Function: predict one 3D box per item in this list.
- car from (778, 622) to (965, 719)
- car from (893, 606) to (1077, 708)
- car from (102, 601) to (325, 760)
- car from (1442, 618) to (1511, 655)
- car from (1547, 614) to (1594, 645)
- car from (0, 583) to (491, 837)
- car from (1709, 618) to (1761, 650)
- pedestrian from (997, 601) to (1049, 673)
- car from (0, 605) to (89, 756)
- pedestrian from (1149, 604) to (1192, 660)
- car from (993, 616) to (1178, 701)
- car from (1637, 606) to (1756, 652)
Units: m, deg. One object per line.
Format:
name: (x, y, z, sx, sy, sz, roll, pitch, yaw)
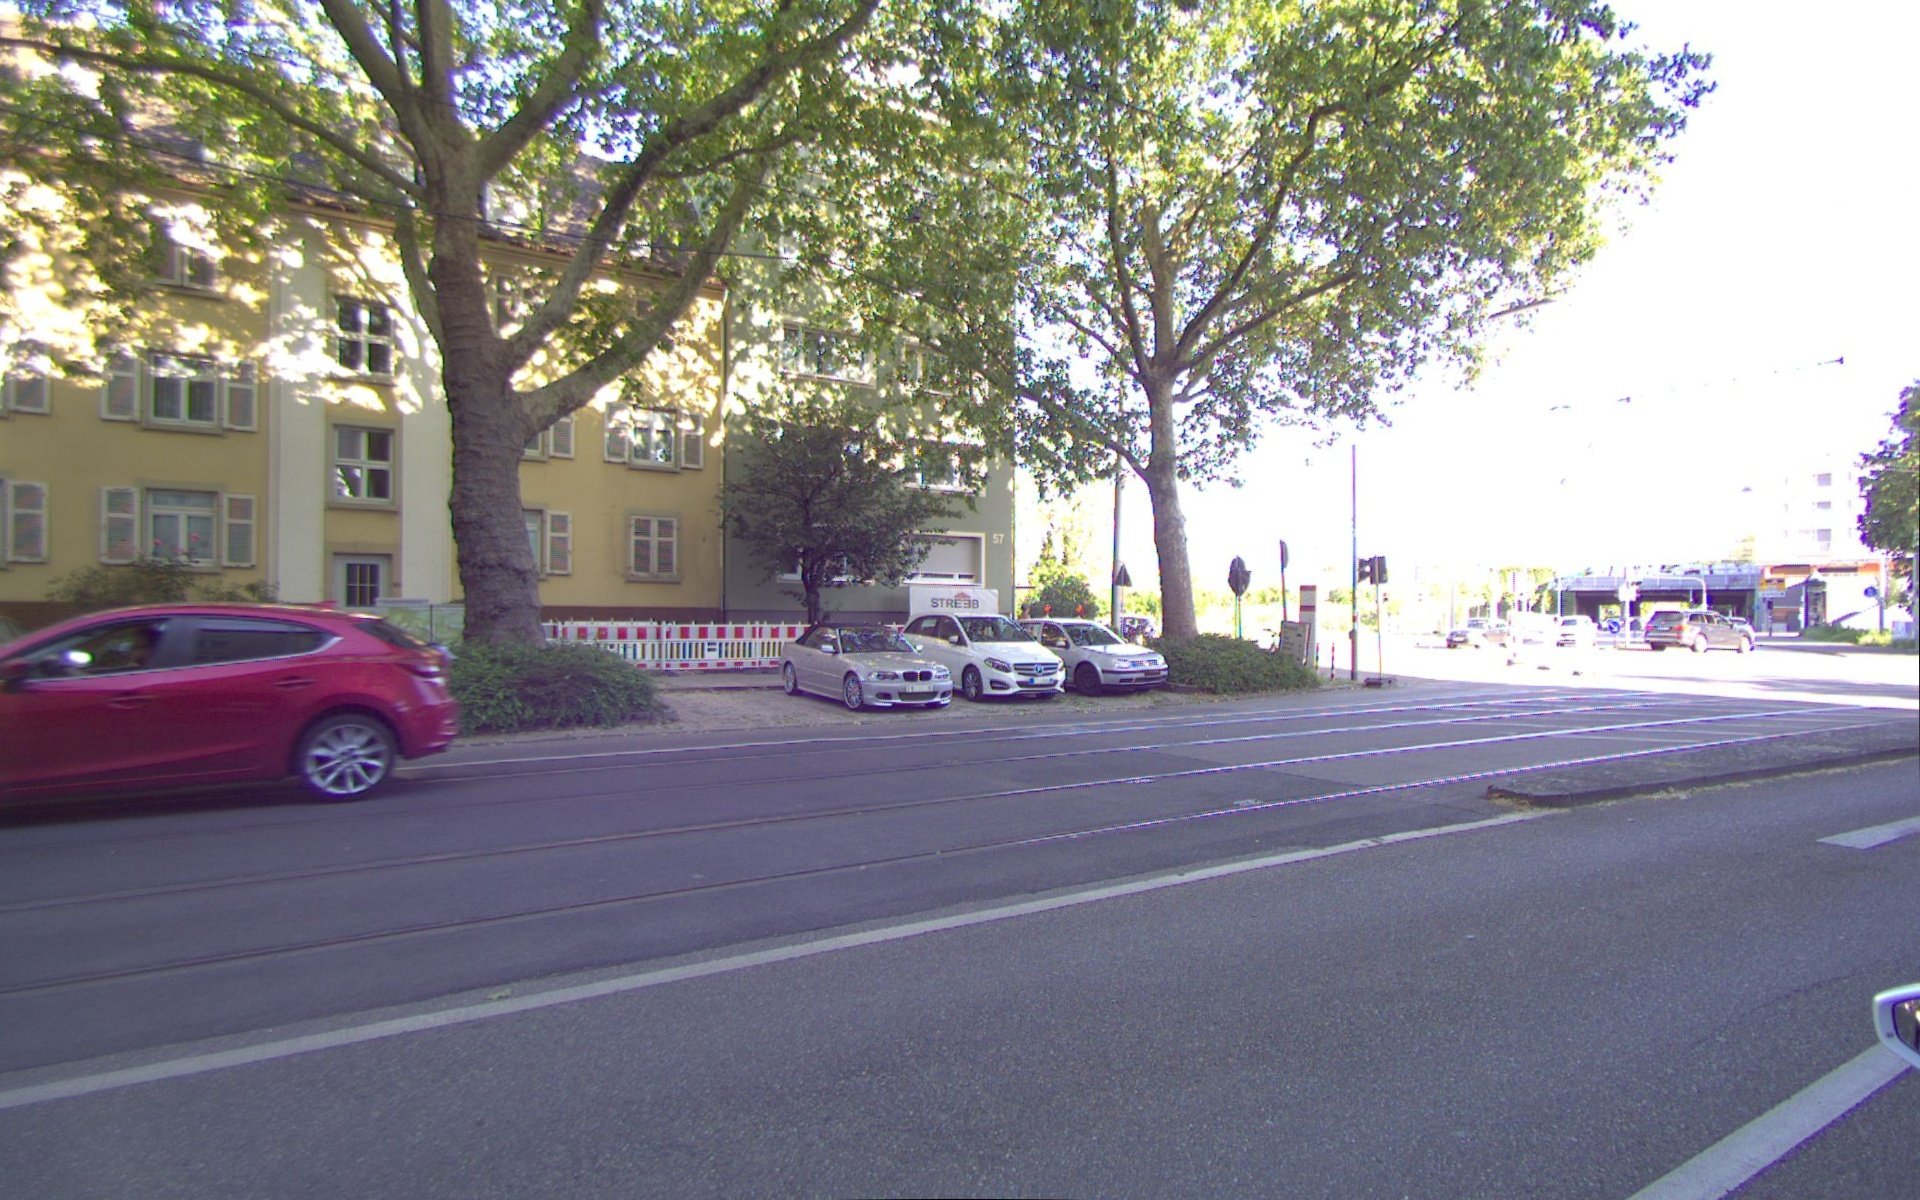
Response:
car: (-1.640, 1.113, 17.312, 1.651, 1.370, 3.949, 1, 0, -31)
car: (0.360, 0.988, 19.157, 1.651, 1.669, 3.949, 1, 0, -31)
car: (-8.989, 0.837, 12.419, 1.652, 1.602, 3.953, 1, 0, -29)
car: (26.152, 1.809, 50.801, 1.961, 1.788, 4.335, -1, -1, 43)
car: (33.930, 1.649, 55.806, 1.860, 1.606, 3.823, 2, 0, 37)
car: (-6.069, 0.702, 7.462, 4.445, 1.586, 2.004, 1, -1, -34)
car: (39.628, 1.730, 51.330, 1.778, 1.539, 4.183, 2, 0, 42)
pedestrian: (1.521, 0.879, 24.128, 0.945, 1.683, 0.768, 2, 0, -32)
car: (-11.455, 0.837, 11.387, 1.652, 1.518, 3.778, 1, 0, -29)
pedestrian: (6.474, 0.982, 30.932, 0.919, 1.669, 0.841, 2, 0, -30)
car: (2.451, 1.115, 20.532, 1.651, 1.473, 3.949, 1, 0, -31)
car: (32.001, 1.262, 43.666, 4.773, 1.907, 1.906, 1, -1, -21)
